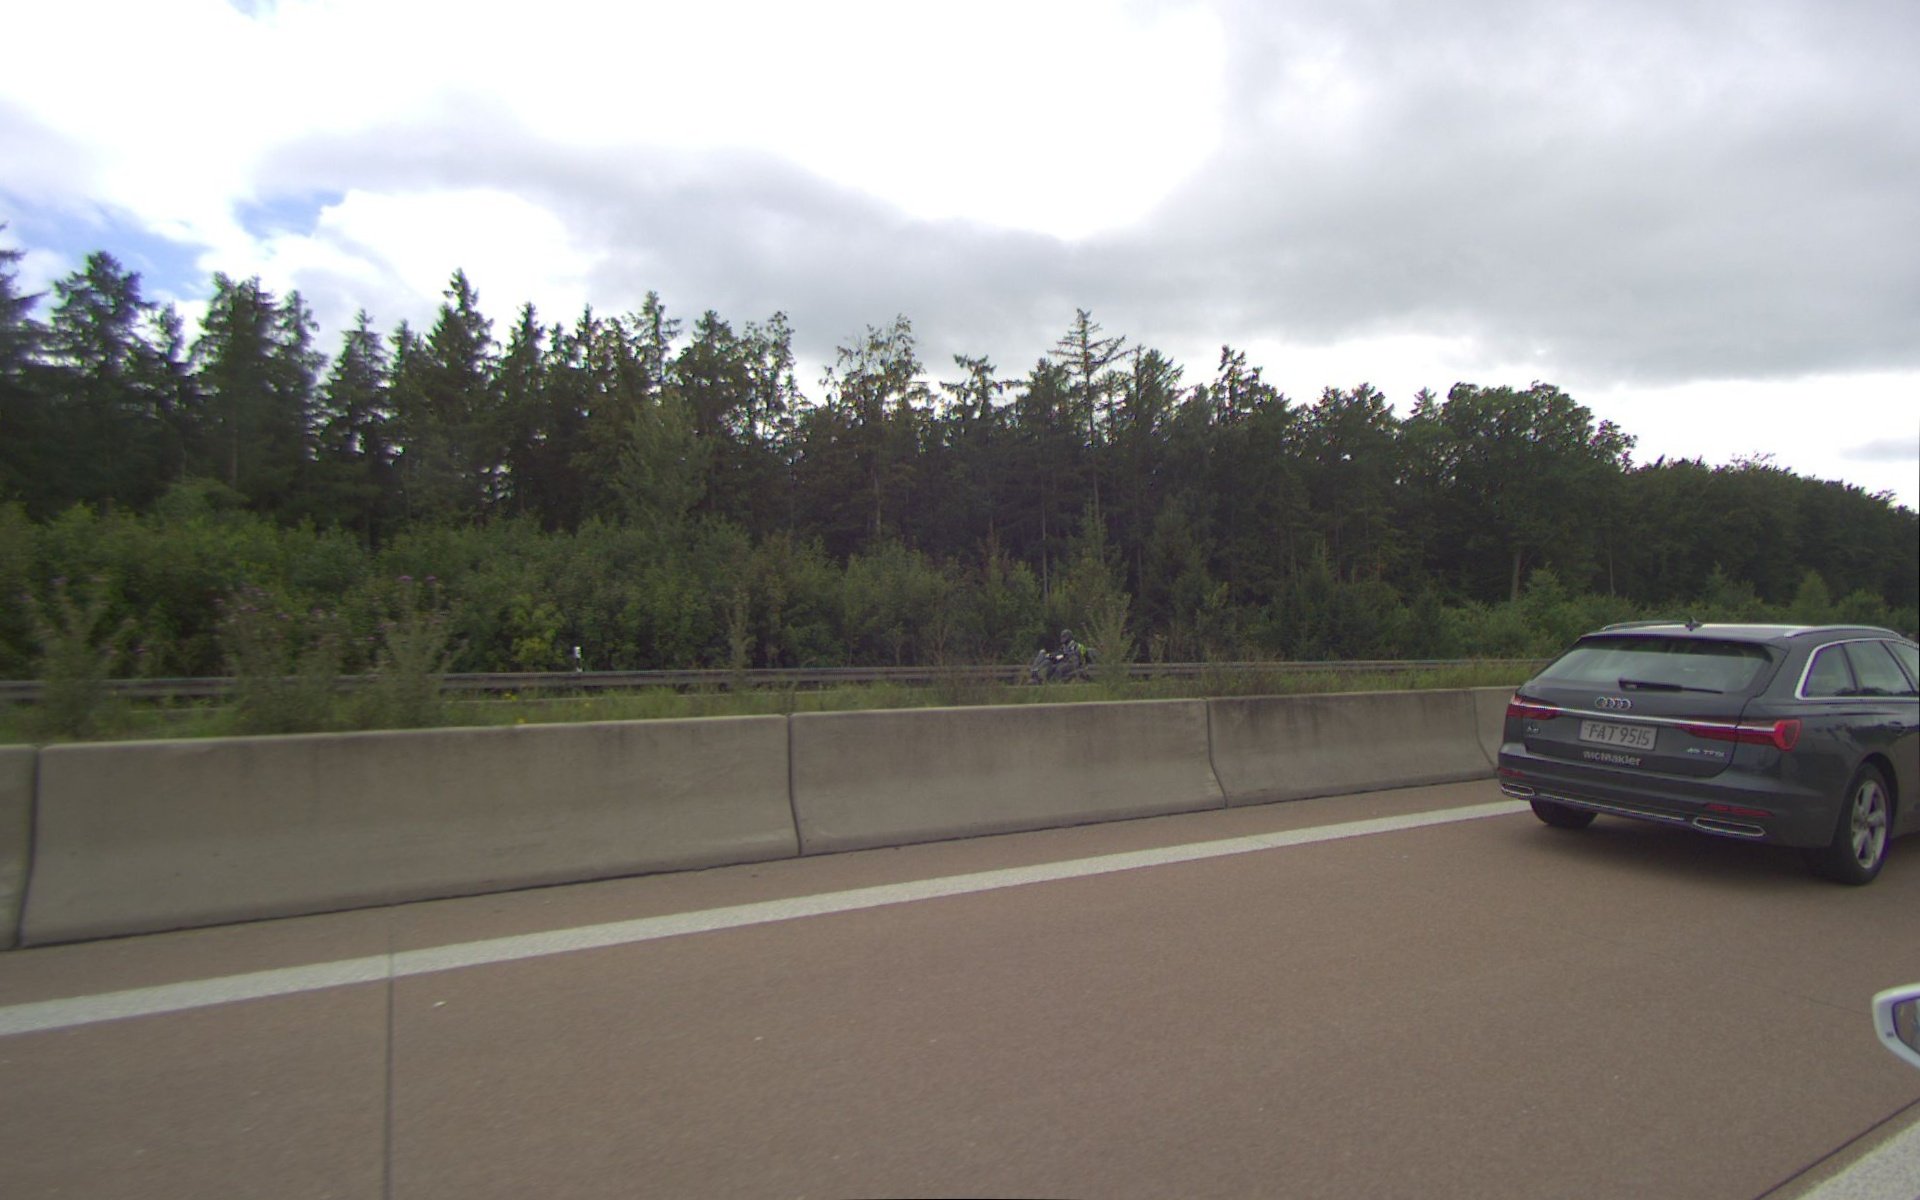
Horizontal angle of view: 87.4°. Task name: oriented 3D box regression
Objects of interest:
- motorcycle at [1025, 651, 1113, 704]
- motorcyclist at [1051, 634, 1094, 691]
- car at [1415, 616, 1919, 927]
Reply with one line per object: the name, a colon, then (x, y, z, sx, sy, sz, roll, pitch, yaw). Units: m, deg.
motorcycle: (2.606, 1.822, 23.923, 2.129, 1.171, 0.597, 1, 1, -31)
motorcyclist: (2.683, 1.489, 23.958, 0.792, 1.301, 0.591, 1, 1, -30)
car: (5.911, 0.918, 7.250, 5.388, 1.511, 2.049, 1, 0, -30)
